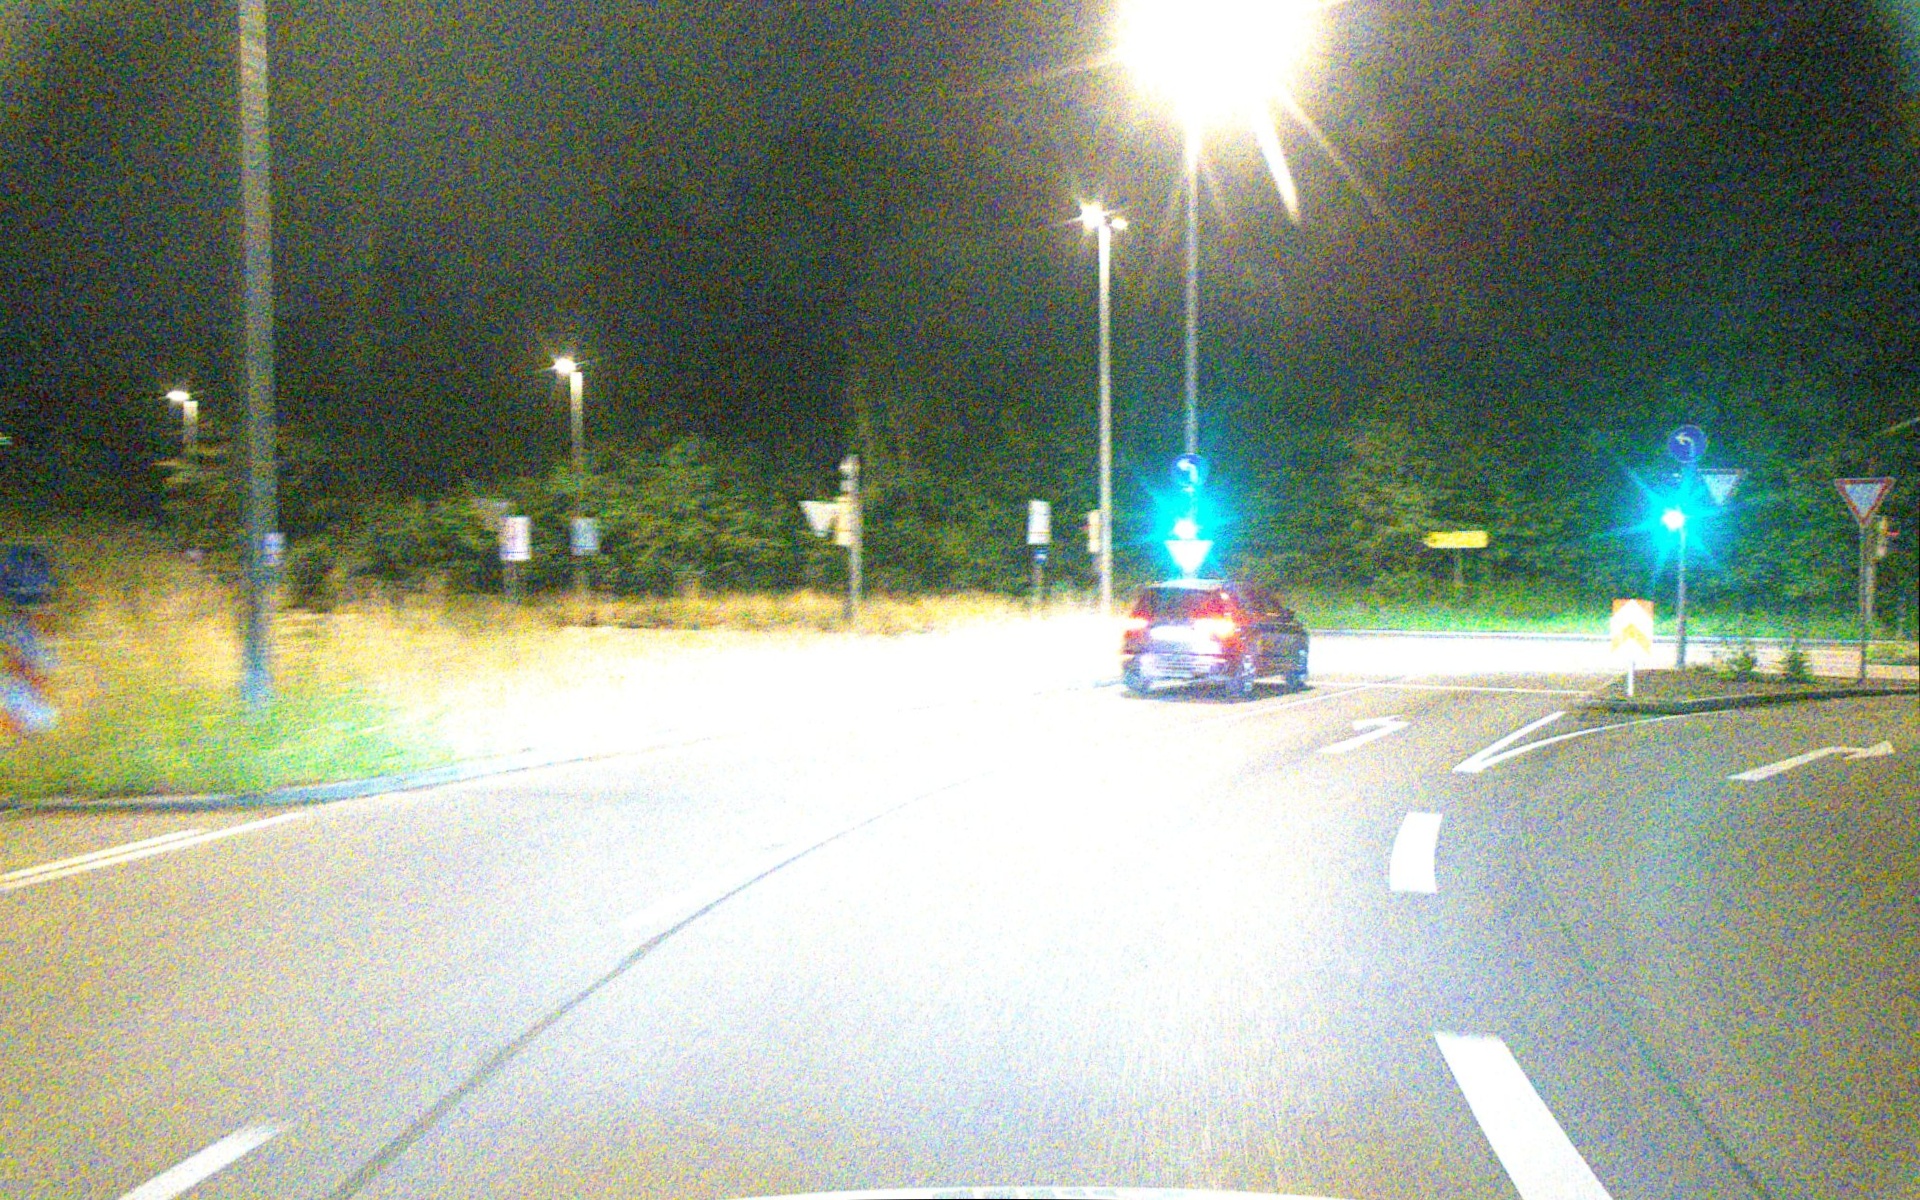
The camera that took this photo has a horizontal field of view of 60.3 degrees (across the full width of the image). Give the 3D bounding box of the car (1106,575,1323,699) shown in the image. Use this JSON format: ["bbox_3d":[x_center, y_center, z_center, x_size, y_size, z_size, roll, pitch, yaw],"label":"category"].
[{"bbox_3d":[3.779,0.464,24.041,1.817,1.610,4.000,2,1,29],"label":"car"}]
